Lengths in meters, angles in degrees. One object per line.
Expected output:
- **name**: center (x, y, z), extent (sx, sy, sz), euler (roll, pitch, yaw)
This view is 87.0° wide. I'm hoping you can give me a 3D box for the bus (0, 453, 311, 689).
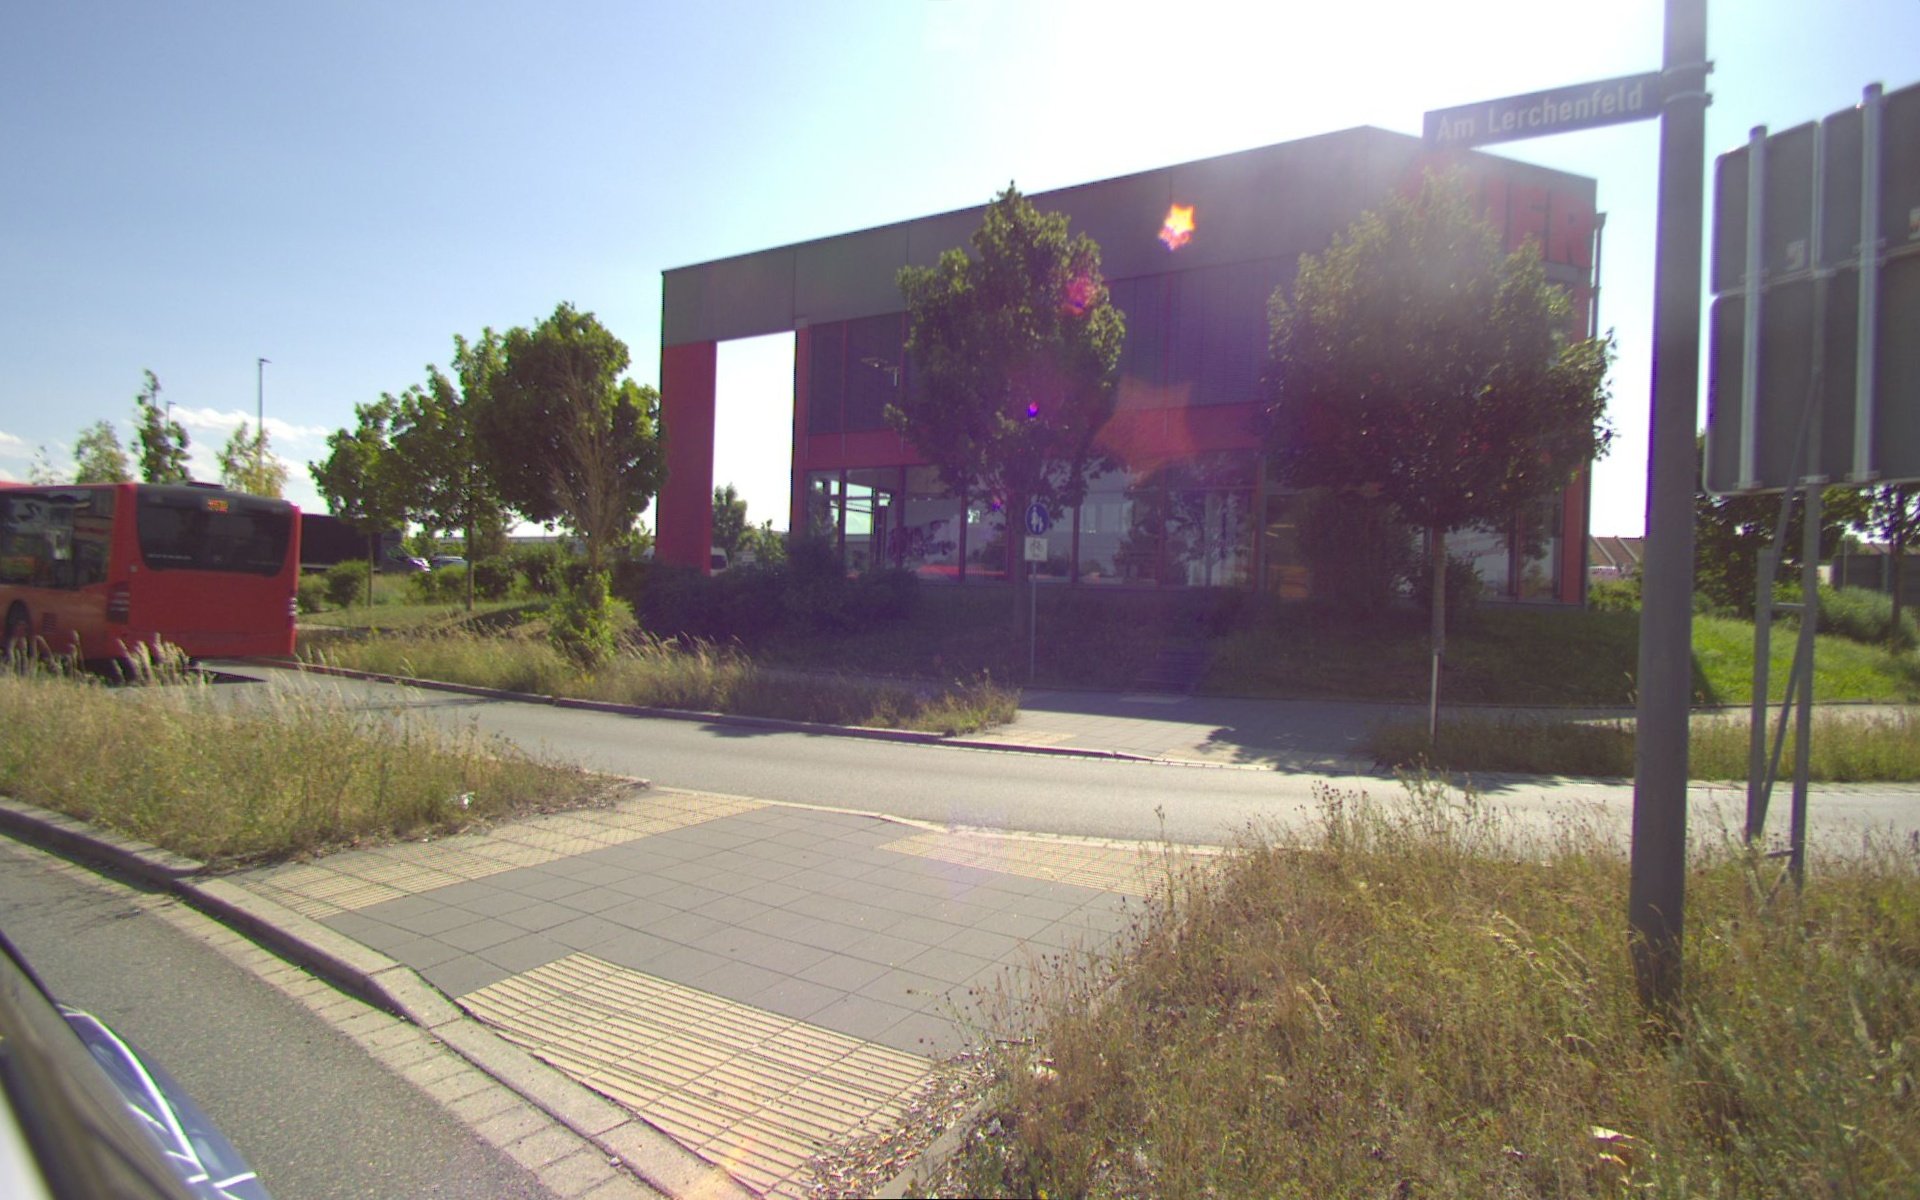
- **bus**: center (-16.251, -0.456, 18.019), extent (11.830, 3.266, 2.592), euler (1, -1, 29)
